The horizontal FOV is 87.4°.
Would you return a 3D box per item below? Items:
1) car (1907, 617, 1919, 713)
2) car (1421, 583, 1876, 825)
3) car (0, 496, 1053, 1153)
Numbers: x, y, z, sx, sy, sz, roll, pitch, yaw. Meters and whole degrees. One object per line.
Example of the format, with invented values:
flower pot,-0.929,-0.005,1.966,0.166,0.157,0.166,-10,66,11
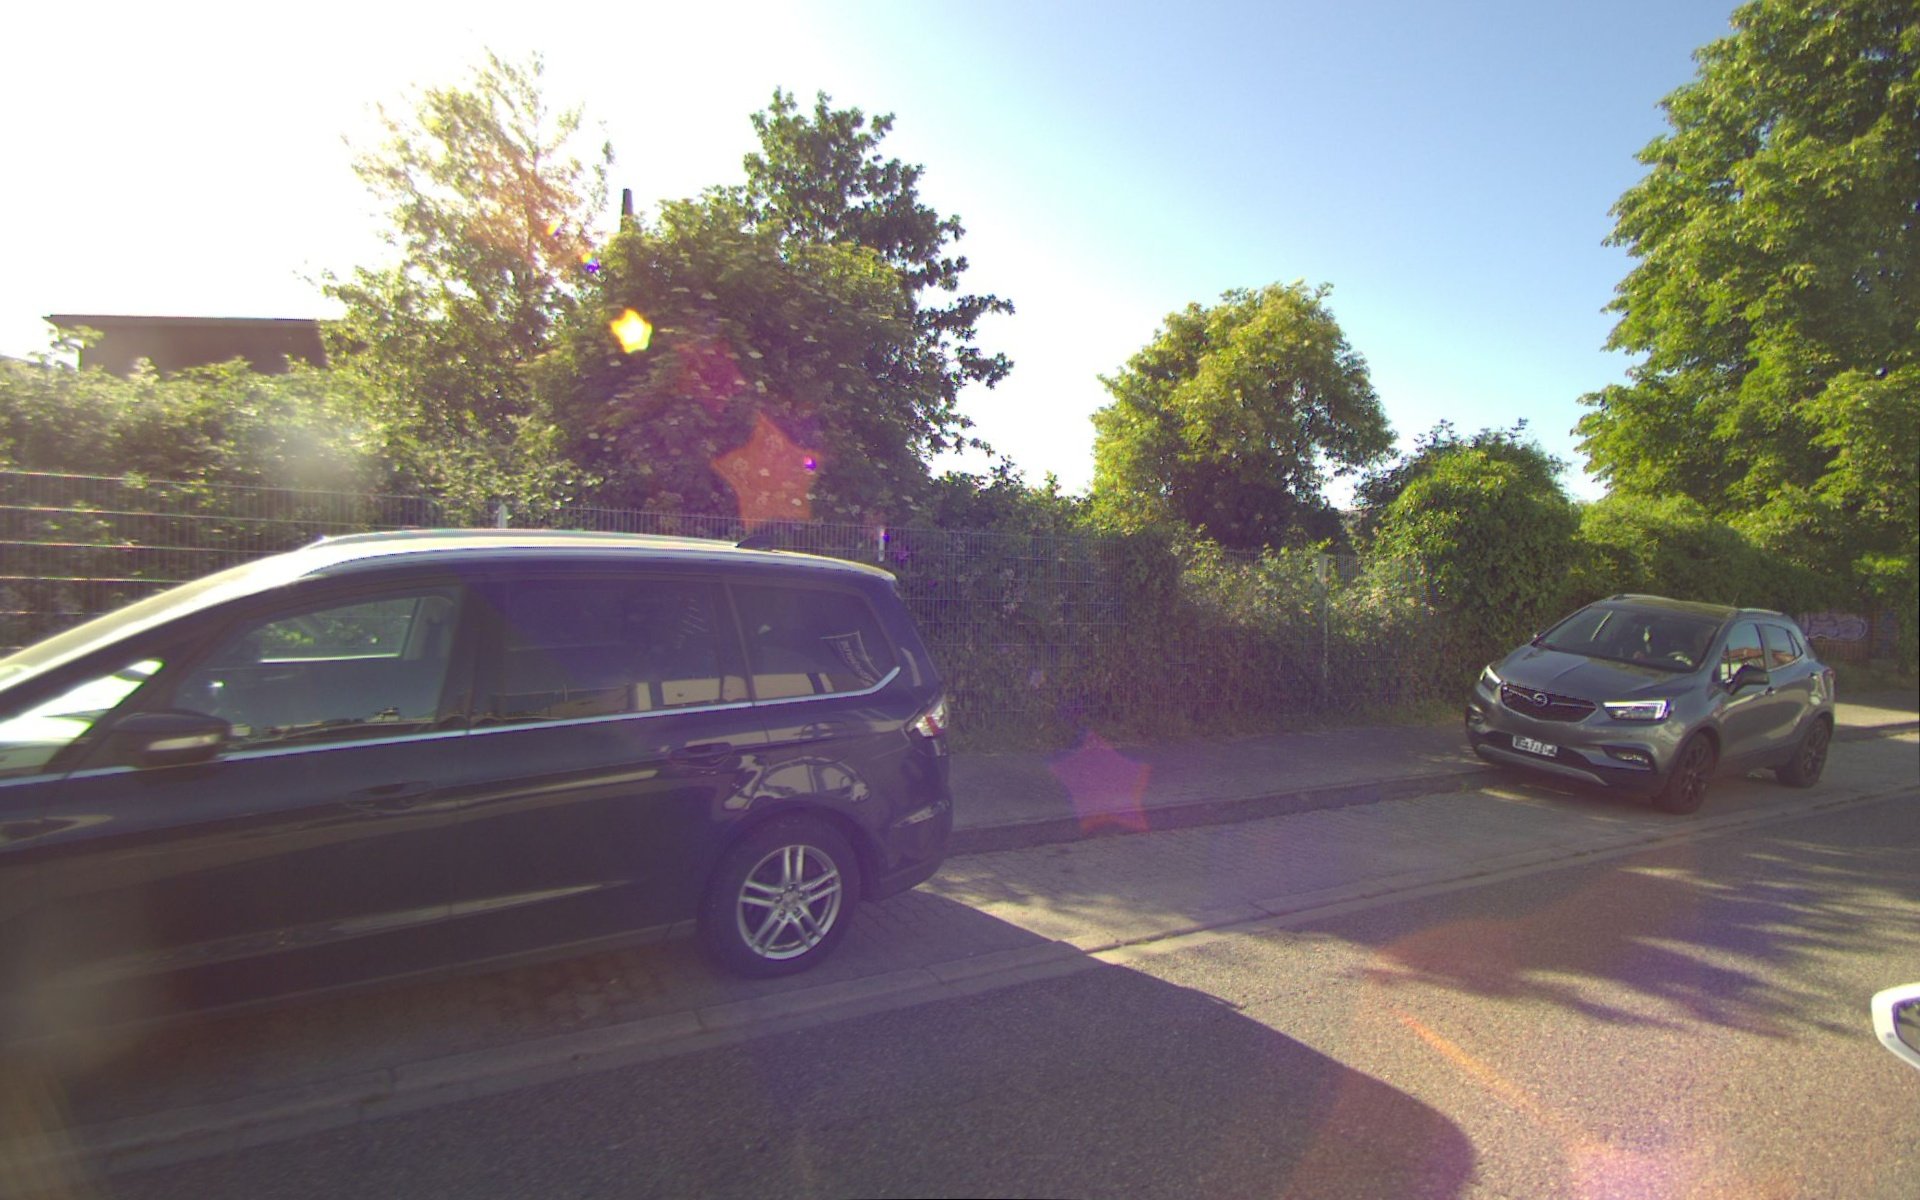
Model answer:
car,17.876,1.113,16.486,4.965,1.615,1.899,1,5,-30
car,6.621,0.799,9.548,4.415,1.685,1.896,1,5,-33
car,-2.079,0.581,4.106,4.751,1.754,1.780,1,5,-34
